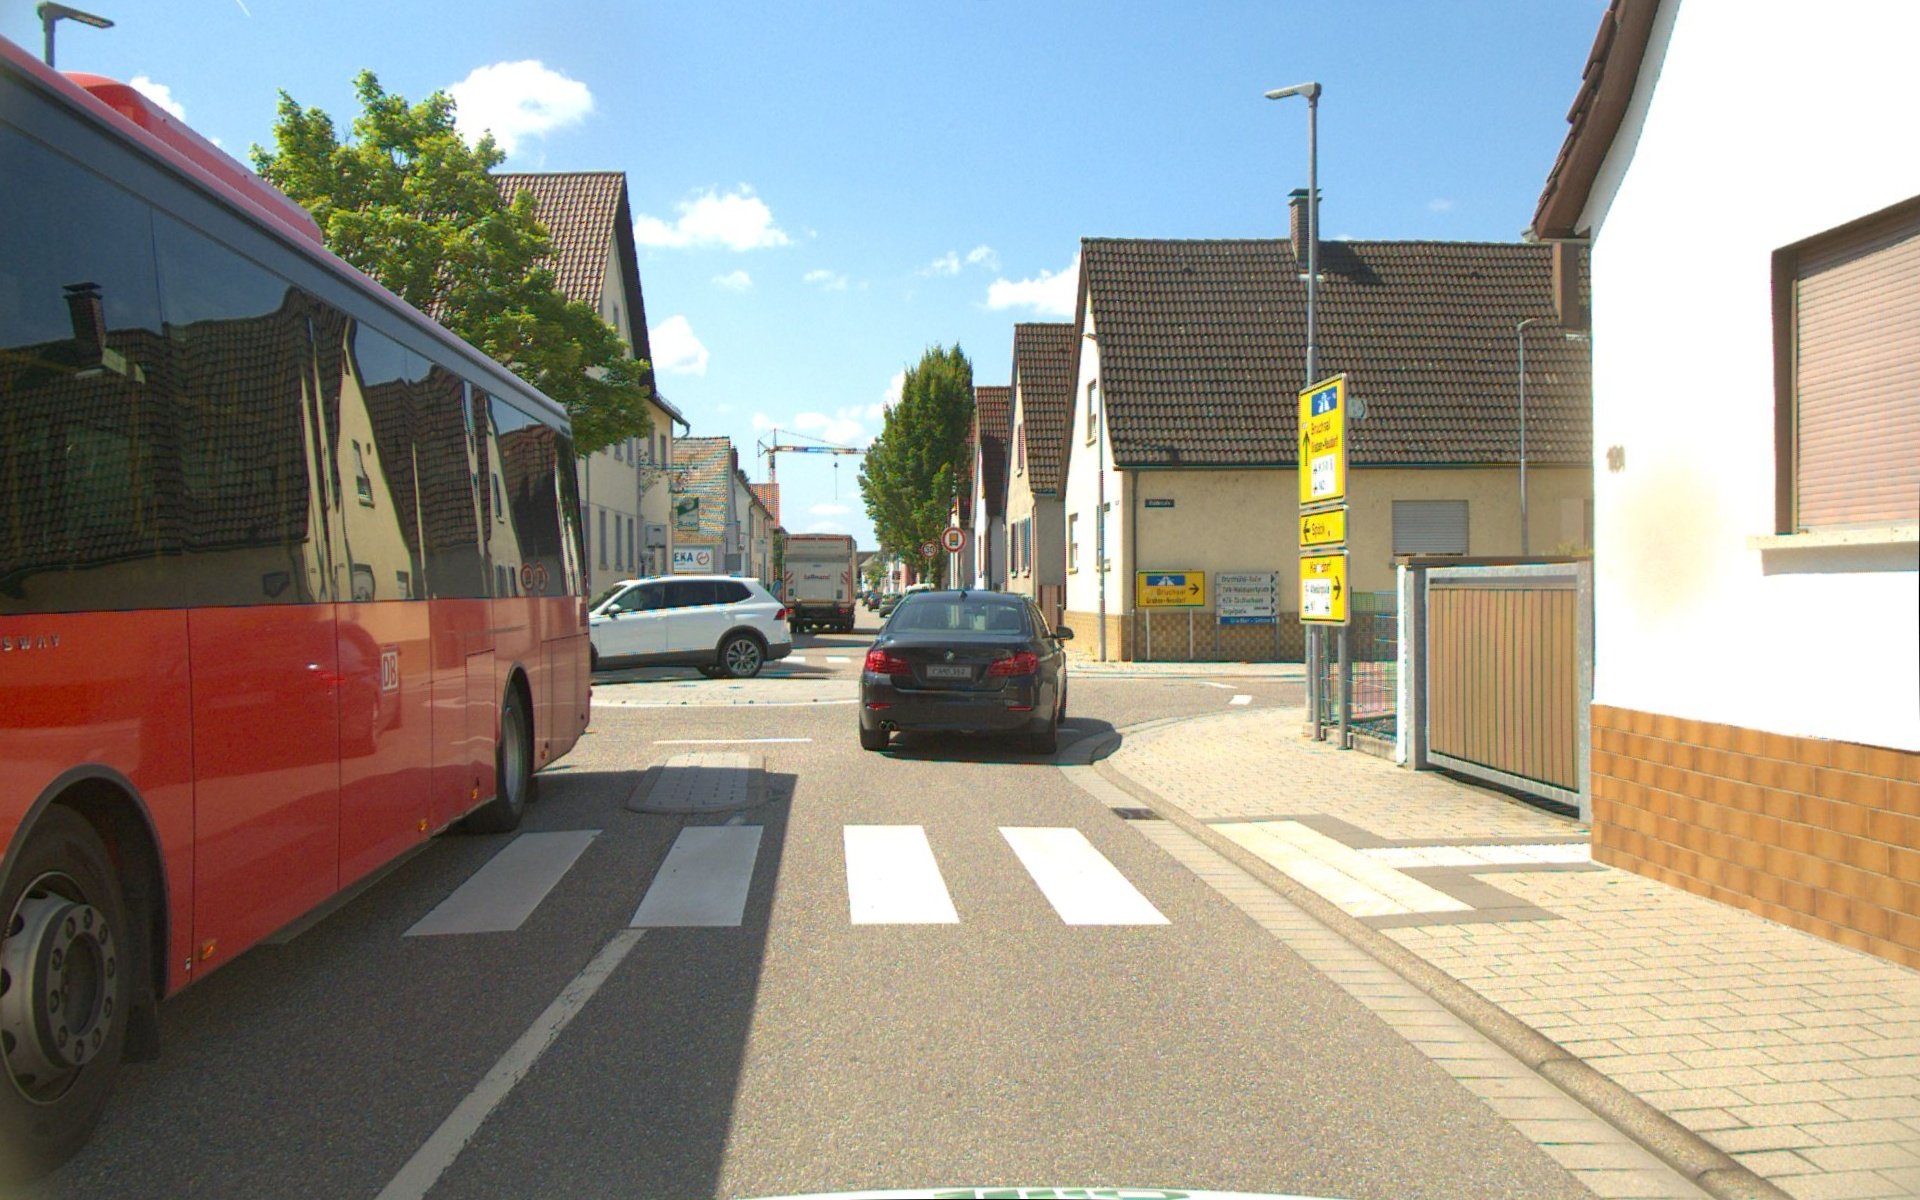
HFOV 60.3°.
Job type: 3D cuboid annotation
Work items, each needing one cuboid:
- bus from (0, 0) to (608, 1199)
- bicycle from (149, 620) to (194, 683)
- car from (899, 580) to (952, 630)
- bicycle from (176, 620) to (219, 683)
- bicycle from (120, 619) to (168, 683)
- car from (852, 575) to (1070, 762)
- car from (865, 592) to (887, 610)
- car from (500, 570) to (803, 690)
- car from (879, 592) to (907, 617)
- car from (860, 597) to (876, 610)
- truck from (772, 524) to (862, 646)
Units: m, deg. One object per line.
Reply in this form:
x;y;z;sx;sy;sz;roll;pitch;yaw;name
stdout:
-3.791;-0.137;7.471;2.575;3.288;12.012;-3;1;-4;bus
-14.339;0.916;30.095;0.393;1.021;1.974;-1;2;-16;bicycle
-1.360;0.181;63.832;1.686;1.821;4.139;-2;0;-6;car
-13.909;0.924;30.215;0.393;1.021;1.974;-1;2;-16;bicycle
-14.758;0.908;29.947;0.393;1.021;1.974;-1;2;-16;bicycle
0.080;0.568;16.486;1.862;1.591;4.478;-1;1;2;car
-6.559;0.077;128.911;1.685;1.379;4.153;0;0;-4;car
-4.930;0.426;26.503;4.471;1.740;1.857;-1;0;-25;car
-4.062;0.264;100.617;1.685;1.487;4.154;0;0;-2;car
-9.863;0.384;177.701;1.685;1.291;4.153;0;0;-4;car
-5.410;-0.522;64.197;3.082;4.325;9.296;1;0;-3;truck
